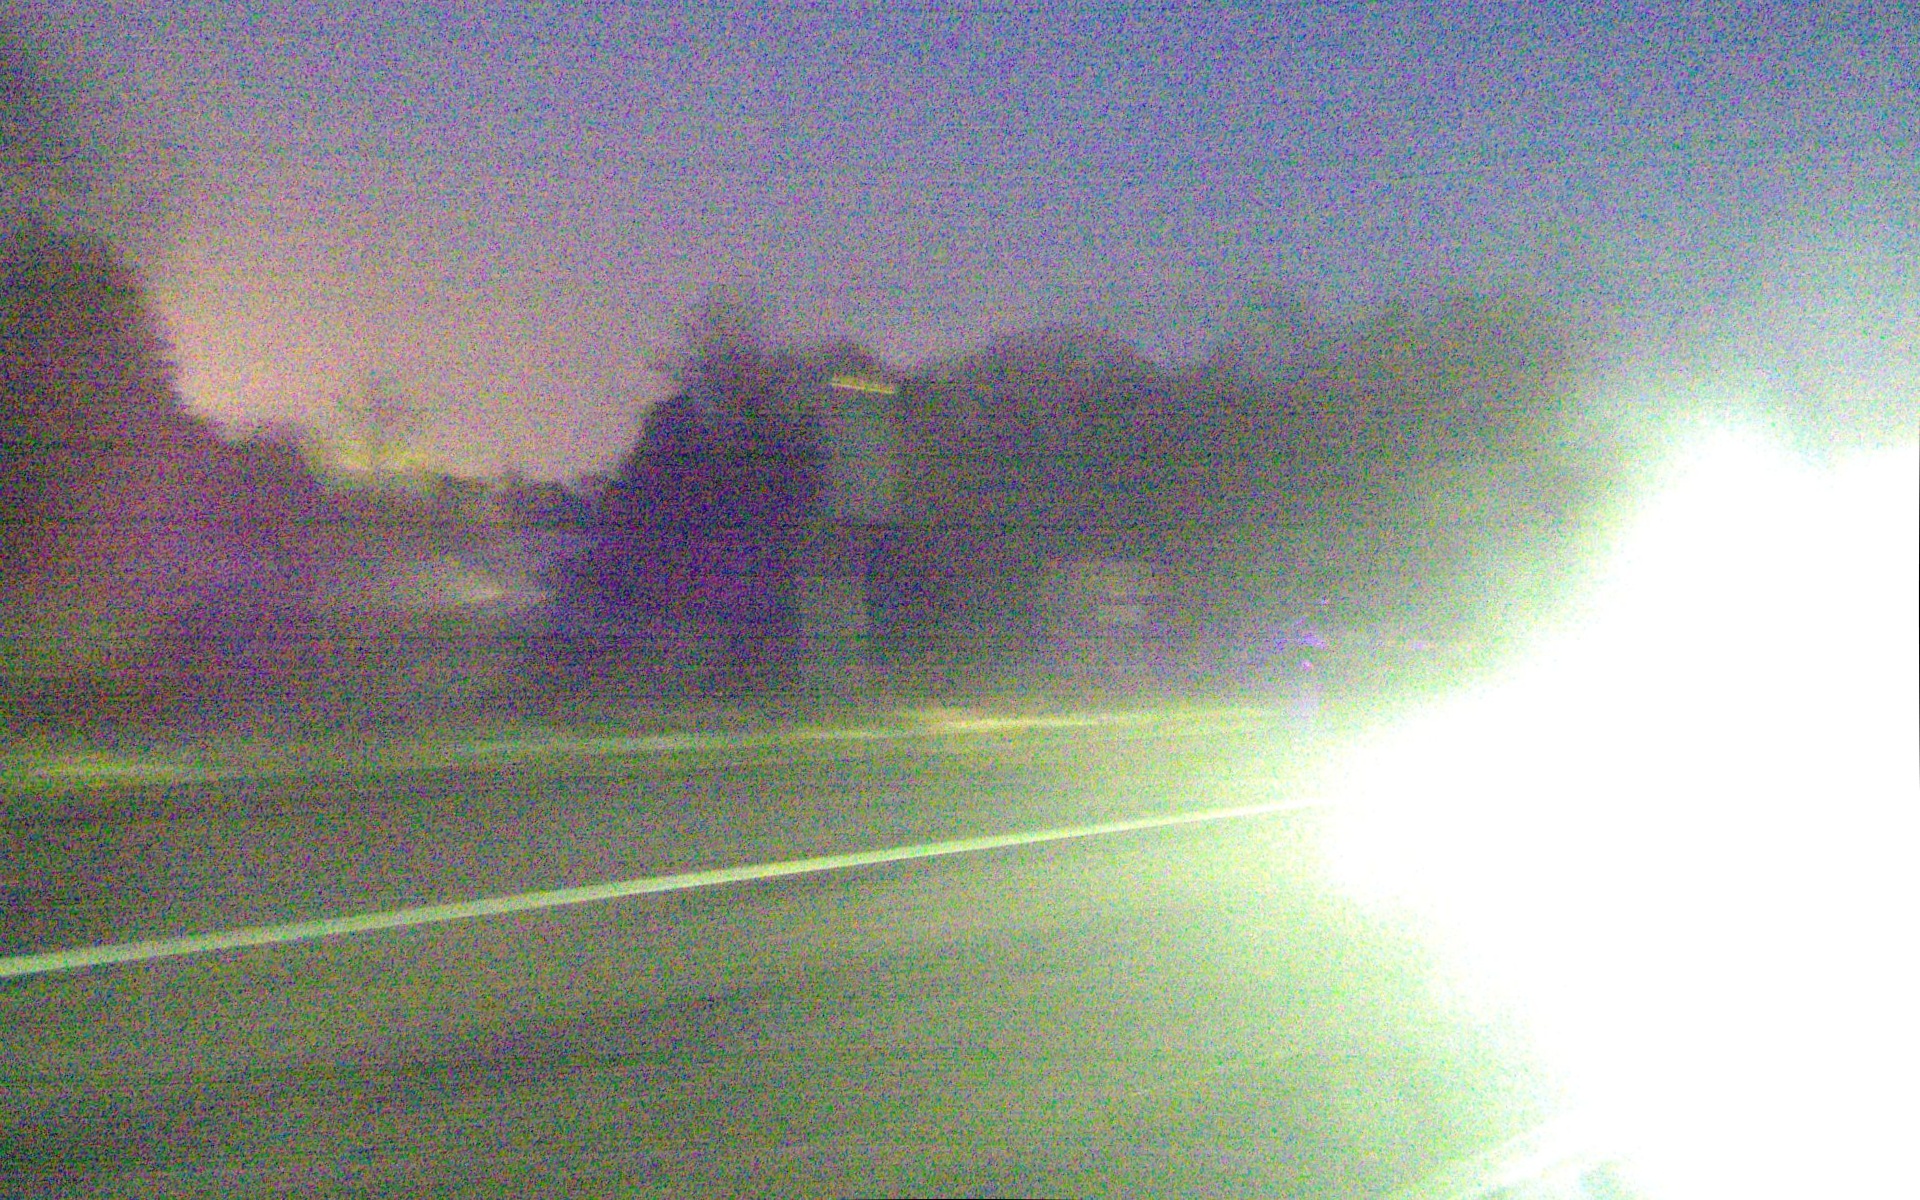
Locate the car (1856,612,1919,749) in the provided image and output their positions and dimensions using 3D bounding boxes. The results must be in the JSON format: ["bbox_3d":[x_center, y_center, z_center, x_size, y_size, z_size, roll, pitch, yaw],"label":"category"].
[{"bbox_3d":[13.420,1.008,12.927,3.955,1.643,1.799,1,-1,-32],"label":"car"}]
